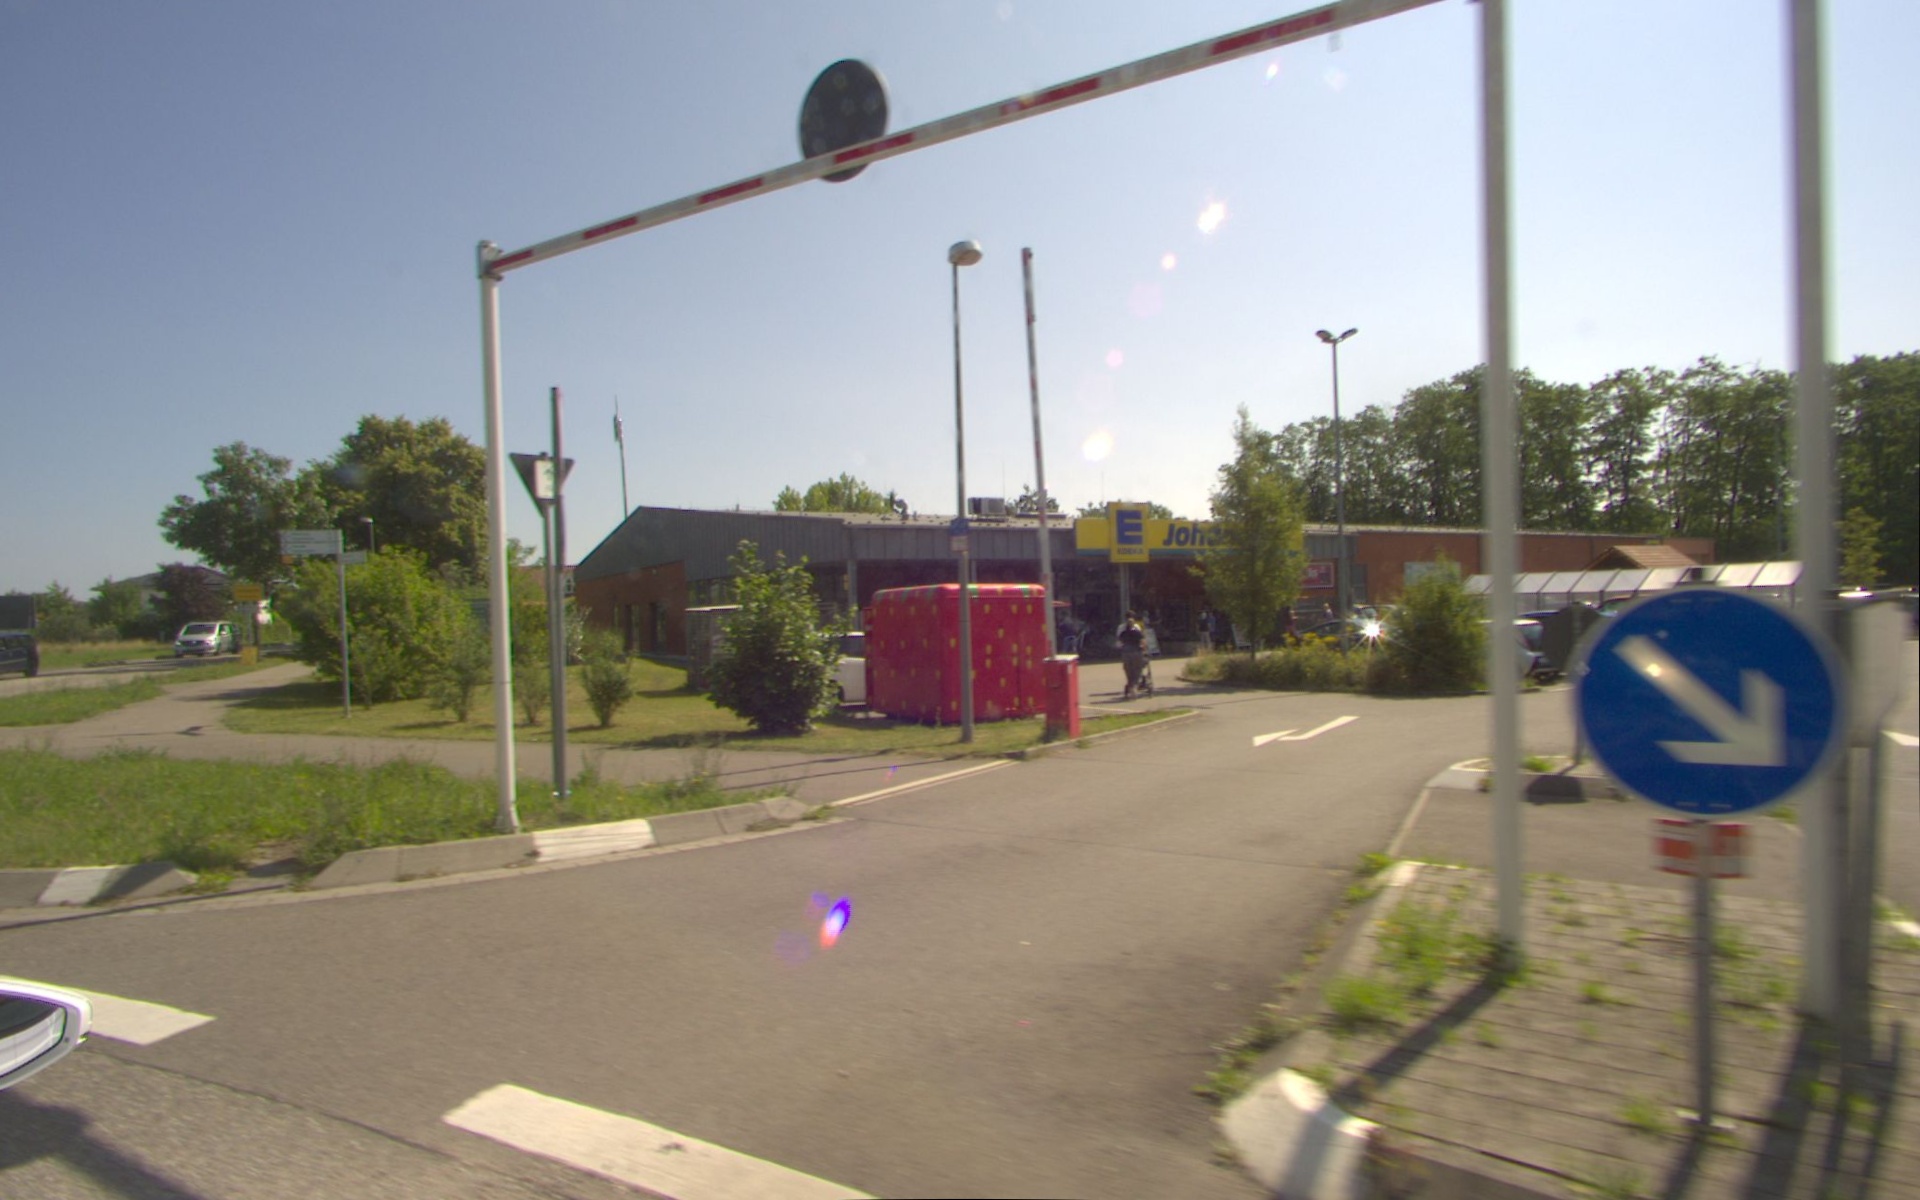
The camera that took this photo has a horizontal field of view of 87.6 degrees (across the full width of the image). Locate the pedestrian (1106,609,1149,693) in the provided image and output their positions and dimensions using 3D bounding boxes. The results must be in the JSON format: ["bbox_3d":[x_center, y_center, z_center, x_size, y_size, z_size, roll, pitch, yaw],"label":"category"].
[{"bbox_3d":[3.889,1.175,23.297,0.824,1.895,0.774,-1,0,0],"label":"pedestrian"}]

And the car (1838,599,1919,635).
[{"bbox_3d":[37.591,0.647,39.526,1.968,1.372,3.985,-1,-1,-25],"label":"car"}]

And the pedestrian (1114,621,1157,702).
[{"bbox_3d":[3.645,1.256,20.745,0.799,1.640,0.925,-1,0,13],"label":"pedestrian"}]

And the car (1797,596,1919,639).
[{"bbox_3d":[33.162,0.636,36.251,1.941,1.505,3.977,-1,-1,-32],"label":"car"}]

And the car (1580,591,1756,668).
[{"bbox_3d":[19.267,0.798,27.408,1.848,1.954,3.481,-1,-1,-24],"label":"car"}]

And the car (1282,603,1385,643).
[{"bbox_3d":[16.896,1.044,45.430,1.974,1.706,3.974,-1,-1,-35],"label":"car"}]

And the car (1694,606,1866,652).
[{"bbox_3d":[26.949,0.969,33.029,1.973,1.394,3.977,-1,-1,-33],"label":"car"}]

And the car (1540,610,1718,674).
[{"bbox_3d":[17.220,1.057,25.944,1.688,1.517,3.481,-1,-1,-24],"label":"car"}]

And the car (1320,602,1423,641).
[{"bbox_3d":[18.977,0.995,46.297,1.974,1.706,3.974,-1,-1,-35],"label":"car"}]

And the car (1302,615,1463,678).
[{"bbox_3d":[12.120,1.299,28.949,1.885,1.643,3.981,-1,-1,-29],"label":"car"}]

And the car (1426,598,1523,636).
[{"bbox_3d":[26.311,0.877,51.276,1.974,1.839,3.974,-1,-1,-35],"label":"car"}]

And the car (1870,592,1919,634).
[{"bbox_3d":[39.794,0.502,40.497,1.968,1.683,3.986,-1,-1,-25],"label":"car"}]

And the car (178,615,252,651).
[{"bbox_3d":[-41.069,1.765,55.331,1.967,1.839,5.186,-1,0,-22],"label":"car"}]

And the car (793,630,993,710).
[{"bbox_3d":[-1.360,1.361,20.421,3.716,1.465,1.718,0,-1,-28],"label":"car"}]

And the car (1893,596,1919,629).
[{"bbox_3d":[42.773,0.492,42.666,1.861,1.416,3.985,-1,-1,-26],"label":"car"}]

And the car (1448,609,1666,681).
[{"bbox_3d":[14.563,1.075,24.713,1.690,1.591,4.410,-1,-1,-27],"label":"car"}]

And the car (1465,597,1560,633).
[{"bbox_3d":[29.417,0.830,53.439,1.974,1.839,3.974,-1,-1,-34],"label":"car"}]

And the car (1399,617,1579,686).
[{"bbox_3d":[12.420,1.165,23.707,1.688,1.476,3.481,-1,-1,-24],"label":"car"}]

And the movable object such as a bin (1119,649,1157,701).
[{"bbox_3d":[3.863,1.610,21.708,0.754,1.060,1.040,-1,-1,12],"label":"movable object such as a bin"}]

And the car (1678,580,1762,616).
[{"bbox_3d":[50.520,-0.105,66.659,1.970,2.276,4.007,-1,-1,-27],"label":"car"}]

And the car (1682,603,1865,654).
[{"bbox_3d":[25.144,0.886,31.077,1.954,1.438,3.979,-1,-1,-31],"label":"car"}]

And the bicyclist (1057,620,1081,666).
[{"bbox_3d":[3.649,1.429,33.571,0.596,1.535,0.677,-1,0,-14],"label":"bicyclist"}]

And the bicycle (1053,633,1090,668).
[{"bbox_3d":[3.692,1.668,33.402,0.543,1.055,2.074,-1,0,-13],"label":"bicycle"}]

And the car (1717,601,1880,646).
[{"bbox_3d":[28.821,0.816,34.538,1.691,1.416,3.979,-1,-1,-31],"label":"car"}]

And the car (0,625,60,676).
[{"bbox_3d":[-32.651,1.753,33.629,1.784,1.662,4.646,-5,0,-19],"label":"car"}]
